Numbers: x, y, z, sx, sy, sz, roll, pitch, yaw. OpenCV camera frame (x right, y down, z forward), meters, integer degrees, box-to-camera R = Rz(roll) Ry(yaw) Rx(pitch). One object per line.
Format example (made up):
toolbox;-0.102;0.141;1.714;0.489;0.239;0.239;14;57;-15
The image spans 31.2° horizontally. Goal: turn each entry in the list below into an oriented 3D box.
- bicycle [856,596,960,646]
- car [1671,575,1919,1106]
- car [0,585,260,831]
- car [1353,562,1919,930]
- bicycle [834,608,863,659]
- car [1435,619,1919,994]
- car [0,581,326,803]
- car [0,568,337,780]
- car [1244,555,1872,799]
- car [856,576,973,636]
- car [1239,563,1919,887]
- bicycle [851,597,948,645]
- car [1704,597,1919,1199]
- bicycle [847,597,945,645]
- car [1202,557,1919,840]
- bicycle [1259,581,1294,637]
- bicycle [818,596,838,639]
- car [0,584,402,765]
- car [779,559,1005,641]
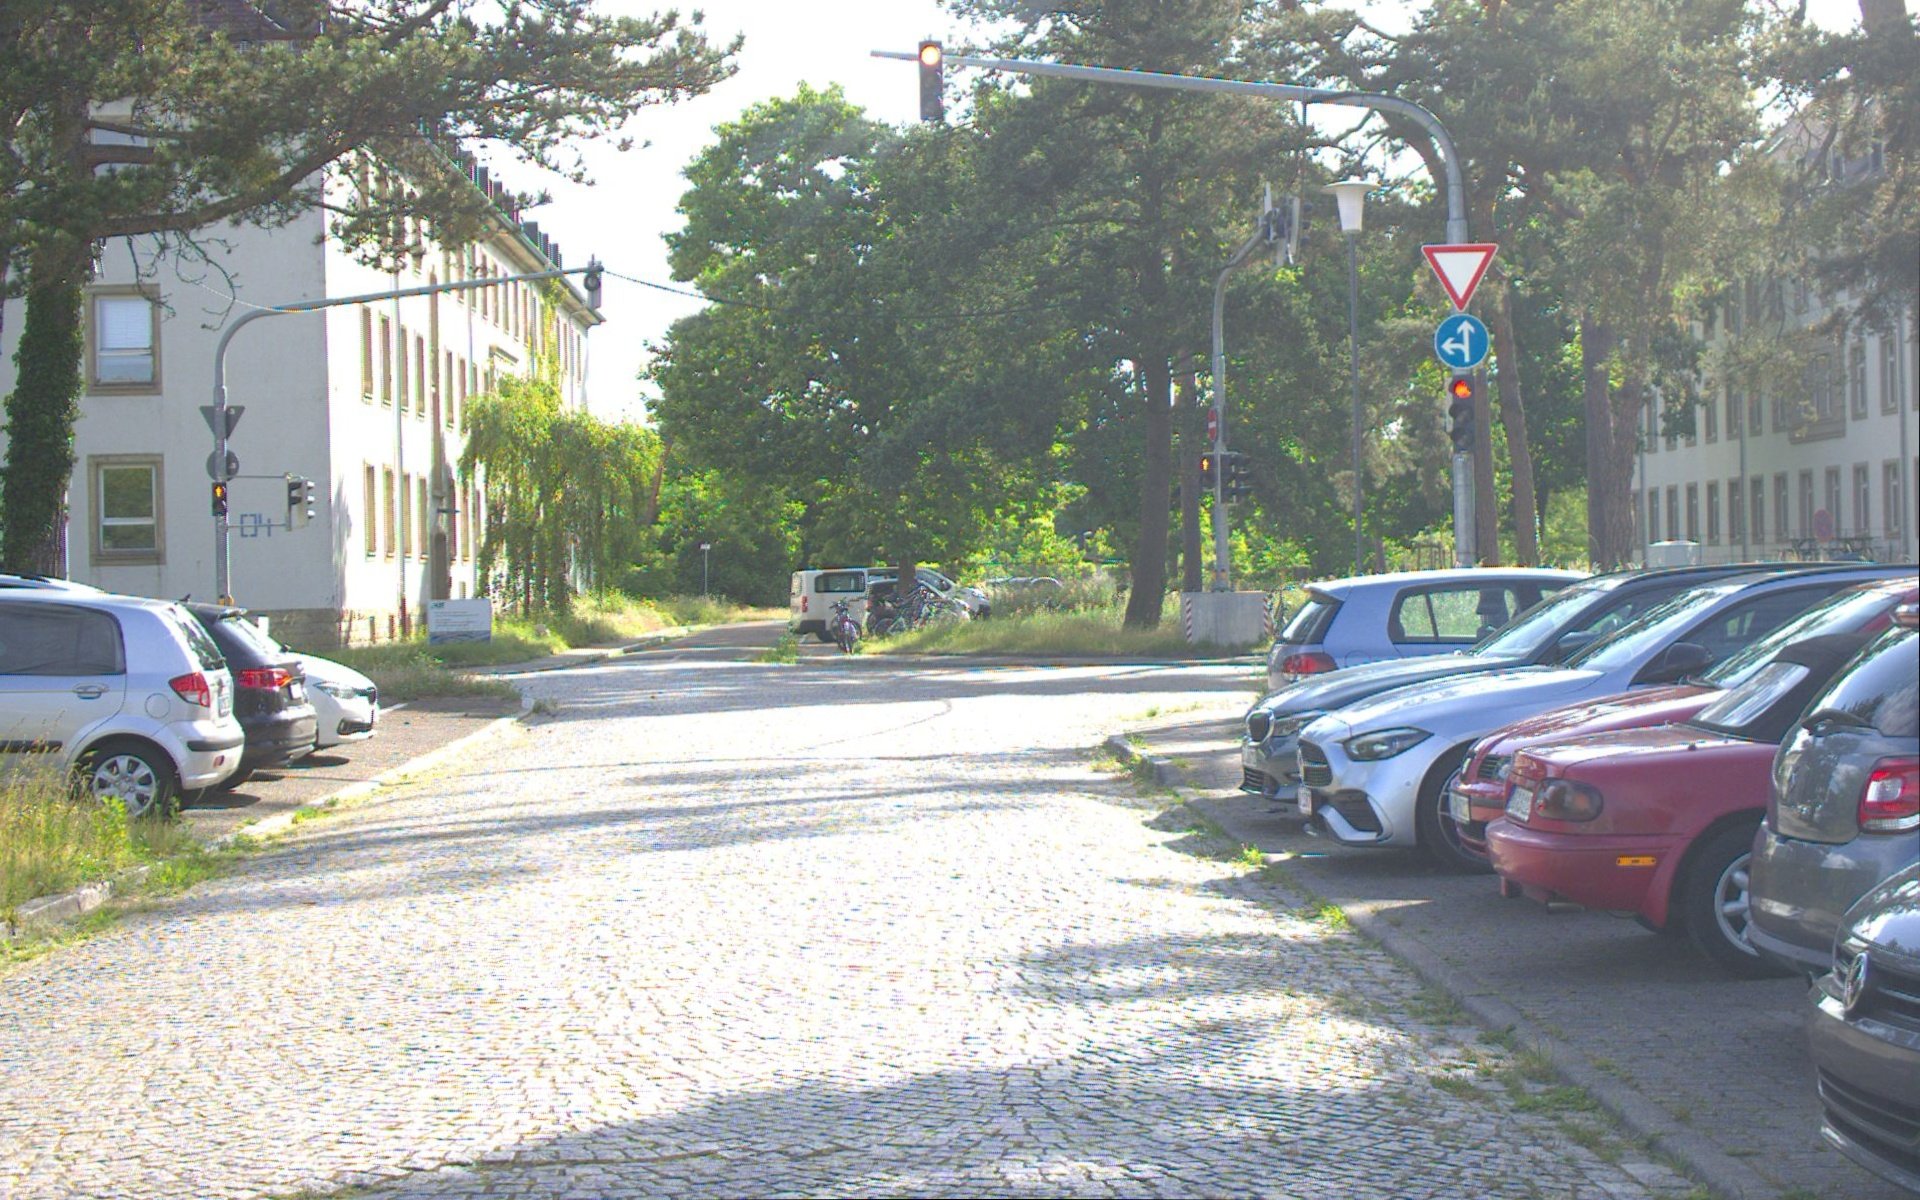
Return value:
bicycle;-1.091;0.446;72.062;2.108;1.007;0.621;1;0;-9
car;4.278;0.605;10.612;3.707;1.444;1.816;-3;1;-1
car;-6.505;0.650;22.067;3.745;1.482;1.646;1;1;-4
car;3.967;0.583;15.508;4.127;1.444;1.637;-3;1;-1
bicycle;-2.218;0.661;68.260;0.467;1.007;1.586;1;0;-5
car;3.831;0.705;13.207;3.707;1.219;1.746;-3;1;-1
car;-6.655;0.619;24.573;3.986;1.475;1.803;1;1;-4
car;-7.178;0.559;27.626;4.079;1.588;1.886;1;1;-4
car;3.963;0.492;23.188;3.882;1.410;1.637;-3;1;-1
car;-1.160;0.155;86.454;2.781;1.462;1.671;1;0;-6
car;3.762;0.582;17.689;4.432;1.410;1.781;-3;1;-1
bicycle;-1.293;0.448;73.687;2.004;1.007;0.632;1;0;-9
car;3.753;0.670;7.687;3.707;1.444;1.856;-3;1;-1
bicycle;-1.393;0.450;74.568;2.027;1.007;0.627;1;0;-9
car;3.808;0.546;20.406;4.559;1.410;1.637;-3;1;-1
bicycle;5.521;0.154;59.998;0.300;0.957;1.586;1;0;-5
bicycle;-3.137;0.410;81.597;0.417;1.007;1.483;1;0;-1
car;-7.157;0.623;30.044;4.333;1.463;1.831;1;1;-4
car;-1.778;0.008;90.043;5.520;2.007;2.001;1;0;-19
